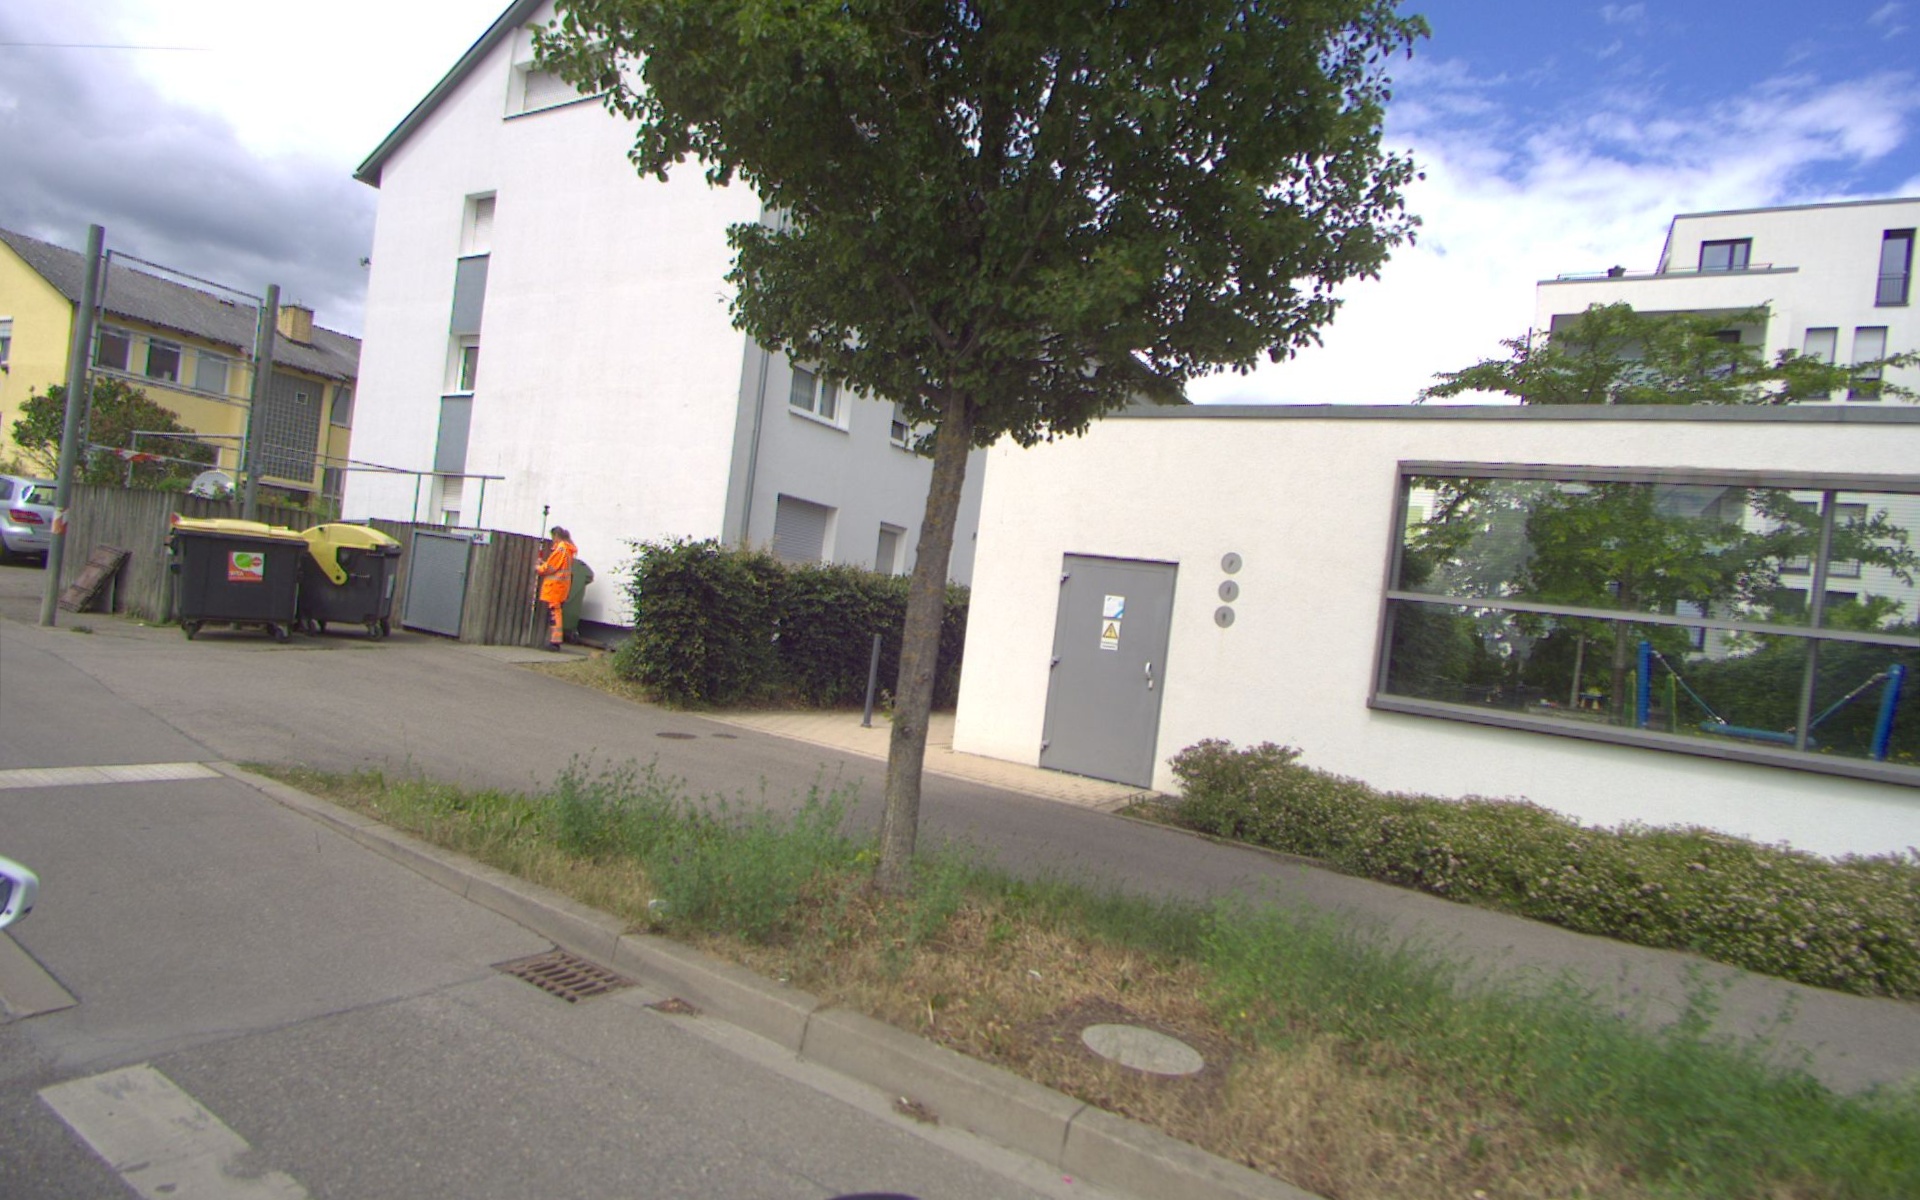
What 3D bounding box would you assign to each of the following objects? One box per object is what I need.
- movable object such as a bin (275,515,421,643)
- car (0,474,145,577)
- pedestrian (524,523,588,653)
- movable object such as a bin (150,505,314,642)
[{"bbox_3d":[-7.947,-0.256,13.162,1.305,1.453,1.245,6,-1,-22],"label":"movable object such as a bin"},{"bbox_3d":[-17.616,-1.521,19.020,4.444,1.564,1.878,7,0,30],"label":"car"},{"bbox_3d":[-5.794,-0.171,14.424,0.505,1.785,0.495,9,-2,-43],"label":"pedestrian"},{"bbox_3d":[-8.488,-0.300,11.724,1.315,1.377,1.236,7,-1,-43],"label":"movable object such as a bin"}]
